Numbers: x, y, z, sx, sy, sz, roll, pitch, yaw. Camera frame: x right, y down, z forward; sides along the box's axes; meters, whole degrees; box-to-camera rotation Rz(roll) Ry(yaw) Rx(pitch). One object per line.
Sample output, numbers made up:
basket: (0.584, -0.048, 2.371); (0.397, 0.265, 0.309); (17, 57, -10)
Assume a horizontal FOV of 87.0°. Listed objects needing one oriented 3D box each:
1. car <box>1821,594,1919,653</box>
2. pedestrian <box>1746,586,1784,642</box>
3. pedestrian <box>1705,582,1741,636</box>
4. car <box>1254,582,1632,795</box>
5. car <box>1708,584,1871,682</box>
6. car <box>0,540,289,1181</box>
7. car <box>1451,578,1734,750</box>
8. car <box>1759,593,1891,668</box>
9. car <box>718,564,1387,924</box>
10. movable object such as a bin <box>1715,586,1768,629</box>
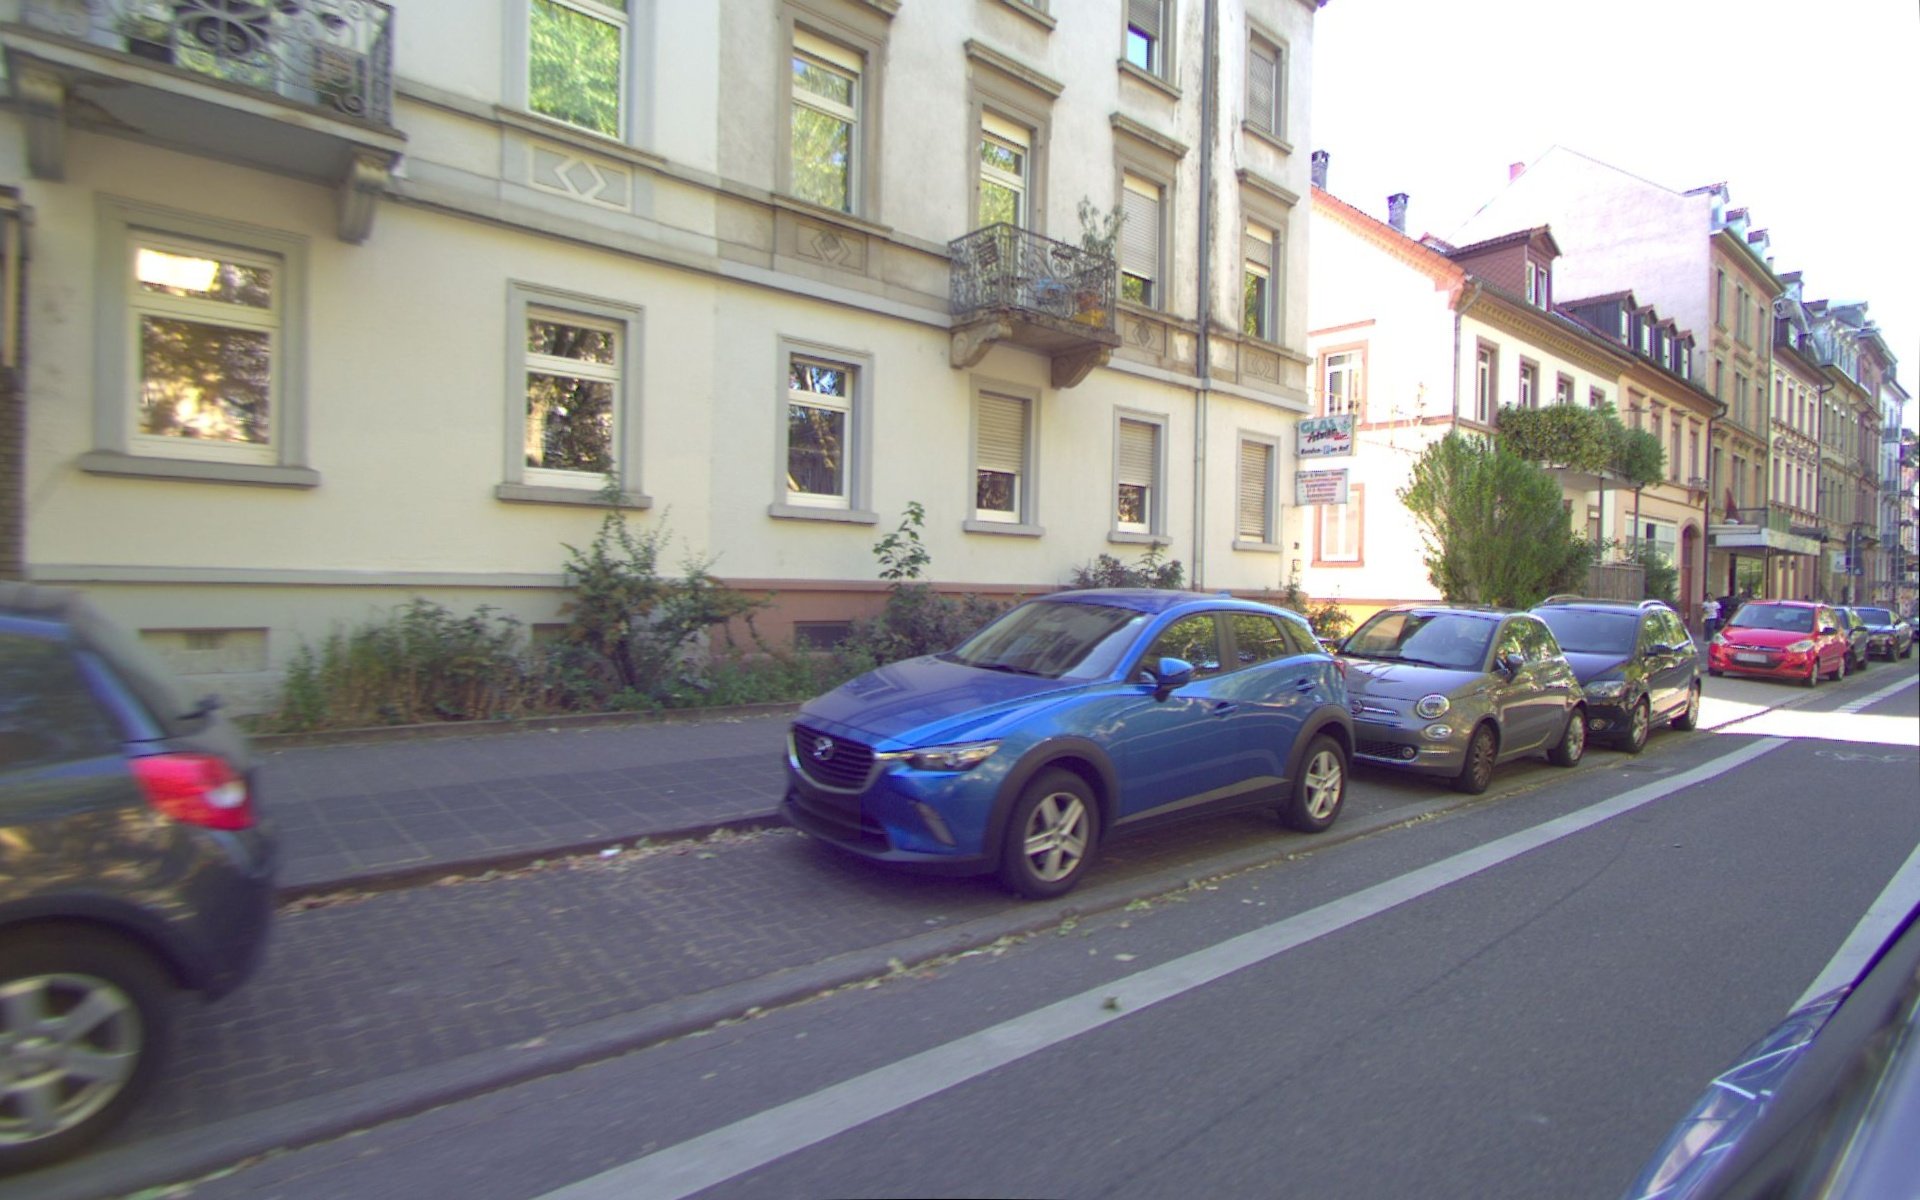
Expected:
car: (24.781, 0.583, 27.232); (4.414, 1.409, 1.698); (0, 2, -39)
pedestrian: (22.198, 0.373, 27.913); (0.851, 1.523, 0.661); (0, 1, -41)
pedestrian: (21.568, 0.252, 28.610); (0.772, 1.502, 0.658); (0, 0, -41)
car: (4.565, 0.627, 9.367); (3.703, 1.473, 1.802); (-1, 4, -42)
car: (16.024, 0.564, 19.508); (3.512, 1.564, 1.640); (0, 6, -39)
car: (-3.809, 0.605, 2.247); (3.697, 1.501, 1.715); (0, 4, -40)
car: (7.643, 0.606, 12.101); (3.867, 1.605, 1.883); (-1, 4, -43)
car: (19.254, 0.609, 22.483); (3.800, 1.474, 1.654); (0, 2, -41)
car: (0.739, 0.588, 6.341); (3.953, 1.473, 1.885); (0, 4, -39)
movable object such as a bin: (28.107, 0.256, 36.396); (1.263, 1.539, 1.296); (0, 0, -40)
